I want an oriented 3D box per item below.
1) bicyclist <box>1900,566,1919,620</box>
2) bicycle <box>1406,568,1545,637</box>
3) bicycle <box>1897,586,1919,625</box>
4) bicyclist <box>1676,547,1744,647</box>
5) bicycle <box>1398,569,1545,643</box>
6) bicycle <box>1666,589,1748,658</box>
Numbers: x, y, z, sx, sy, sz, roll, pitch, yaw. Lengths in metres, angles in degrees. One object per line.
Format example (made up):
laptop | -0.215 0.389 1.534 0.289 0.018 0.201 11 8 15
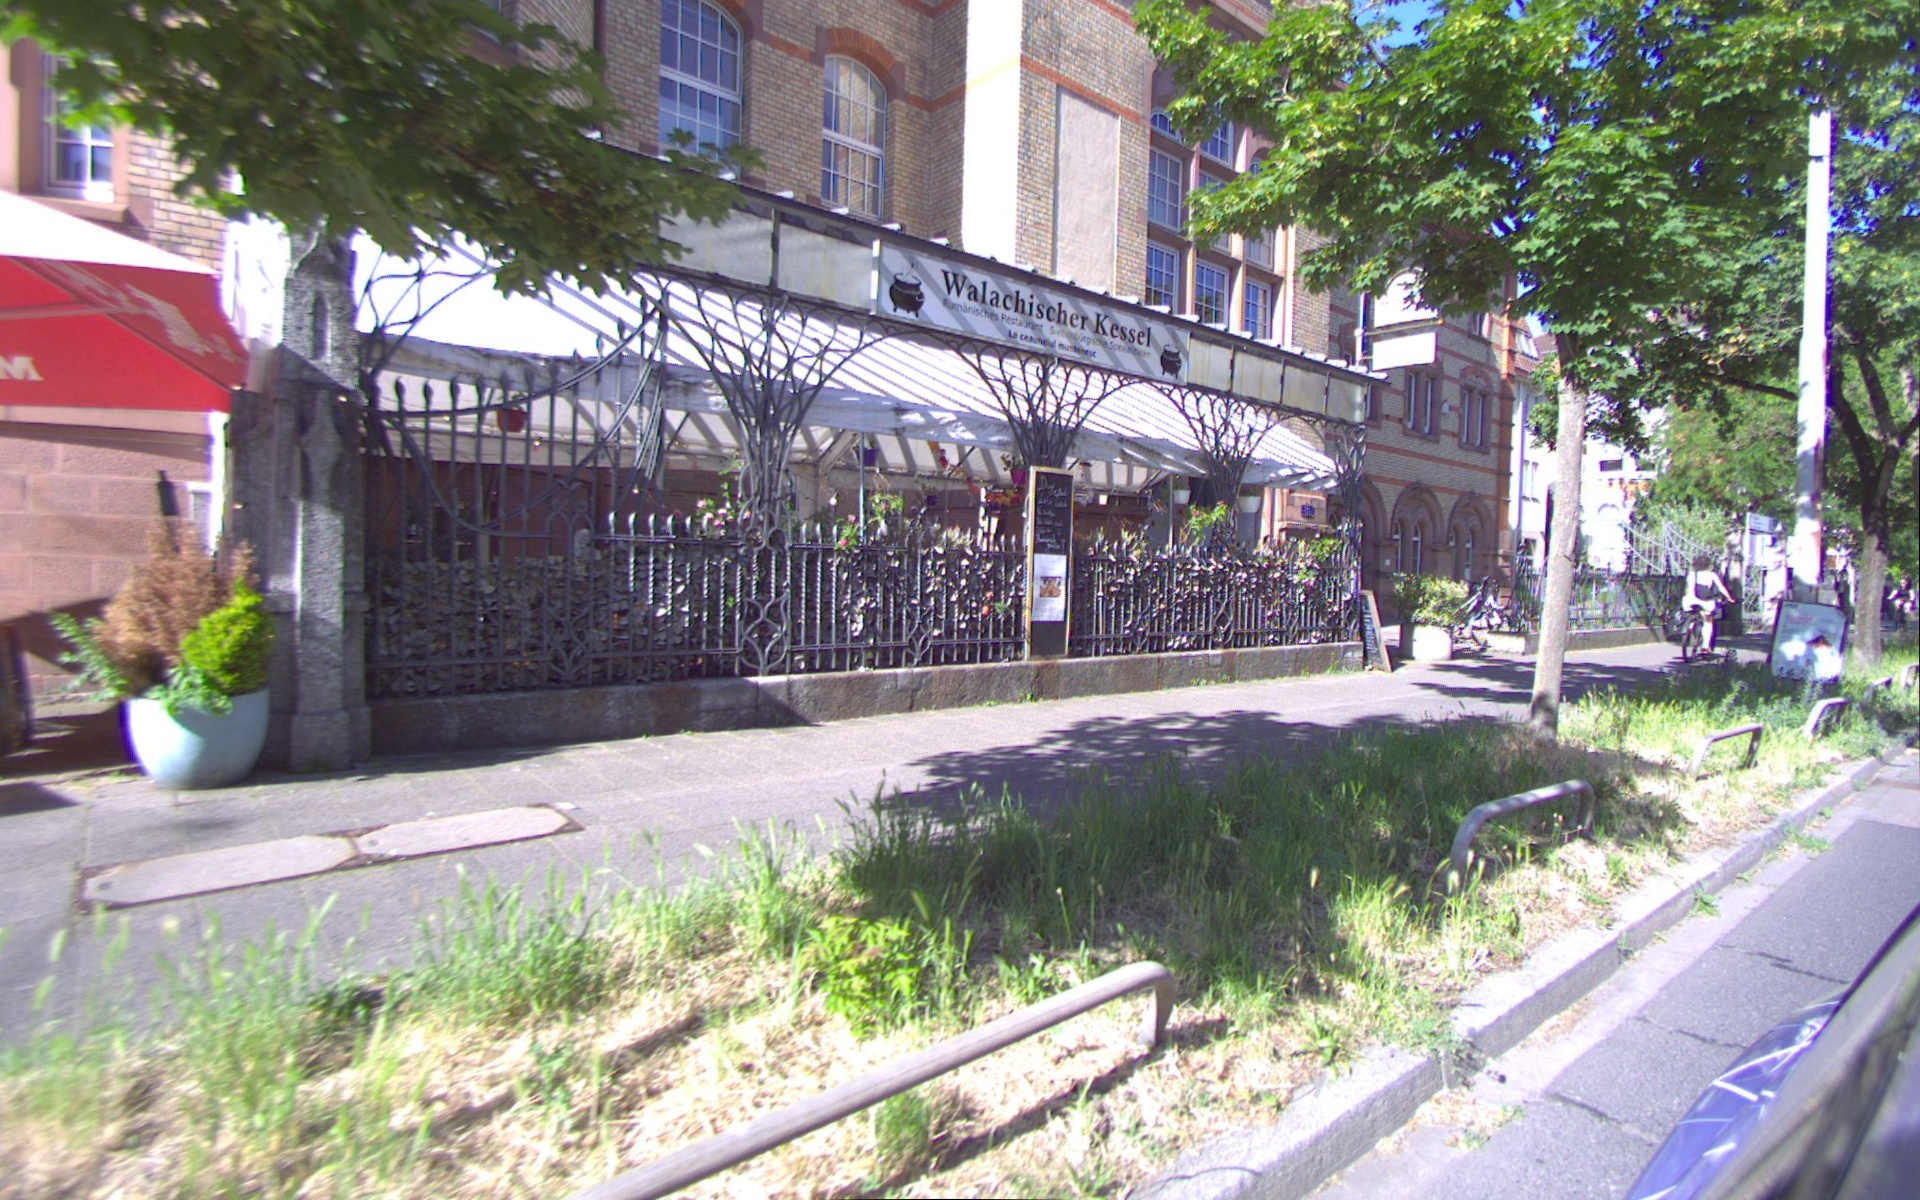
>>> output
bicyclist | 30.978 -0.217 32.709 0.873 1.715 0.647 1 4 -40
bicycle | 9.617 0.013 18.941 2.196 1.193 0.676 3 3 44
bicycle | 30.973 0.186 32.756 1.810 1.190 0.654 0 5 -41
bicyclist | 12.532 -0.069 16.914 0.939 1.619 0.701 -1 2 -42
bicycle | 8.983 0.063 17.854 2.196 1.193 0.676 3 3 44
bicycle | 12.482 0.361 16.887 2.060 1.040 0.686 -1 3 -42
